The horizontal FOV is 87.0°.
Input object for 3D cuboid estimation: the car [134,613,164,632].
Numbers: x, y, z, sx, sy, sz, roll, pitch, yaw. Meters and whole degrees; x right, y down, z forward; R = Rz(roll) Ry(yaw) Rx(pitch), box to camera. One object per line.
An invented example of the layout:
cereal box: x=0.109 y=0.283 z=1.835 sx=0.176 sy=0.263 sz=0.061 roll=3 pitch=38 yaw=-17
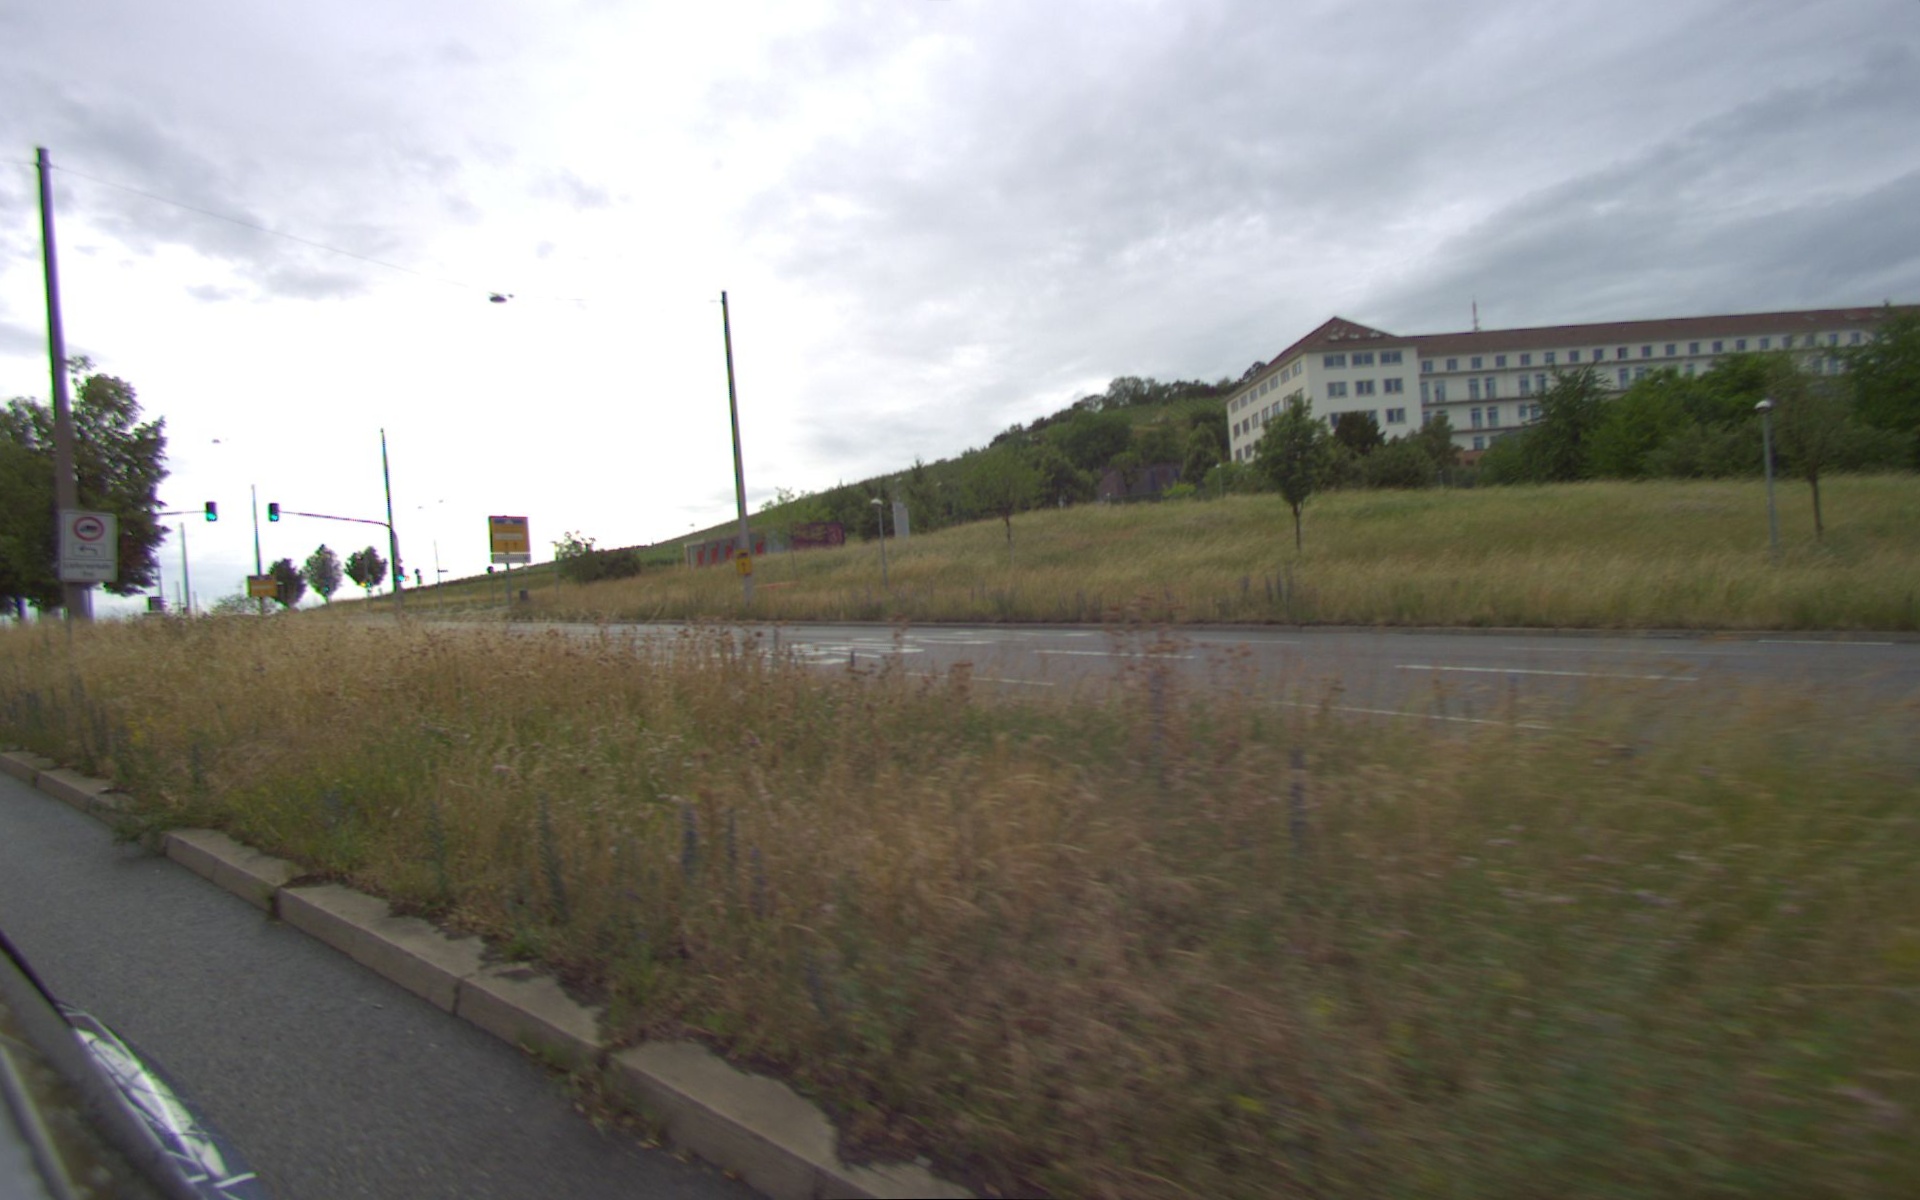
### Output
car: x=-64.104 y=1.758 z=79.998 sx=1.520 sy=1.399 sz=3.932 roll=-3 pitch=1 yaw=-43
